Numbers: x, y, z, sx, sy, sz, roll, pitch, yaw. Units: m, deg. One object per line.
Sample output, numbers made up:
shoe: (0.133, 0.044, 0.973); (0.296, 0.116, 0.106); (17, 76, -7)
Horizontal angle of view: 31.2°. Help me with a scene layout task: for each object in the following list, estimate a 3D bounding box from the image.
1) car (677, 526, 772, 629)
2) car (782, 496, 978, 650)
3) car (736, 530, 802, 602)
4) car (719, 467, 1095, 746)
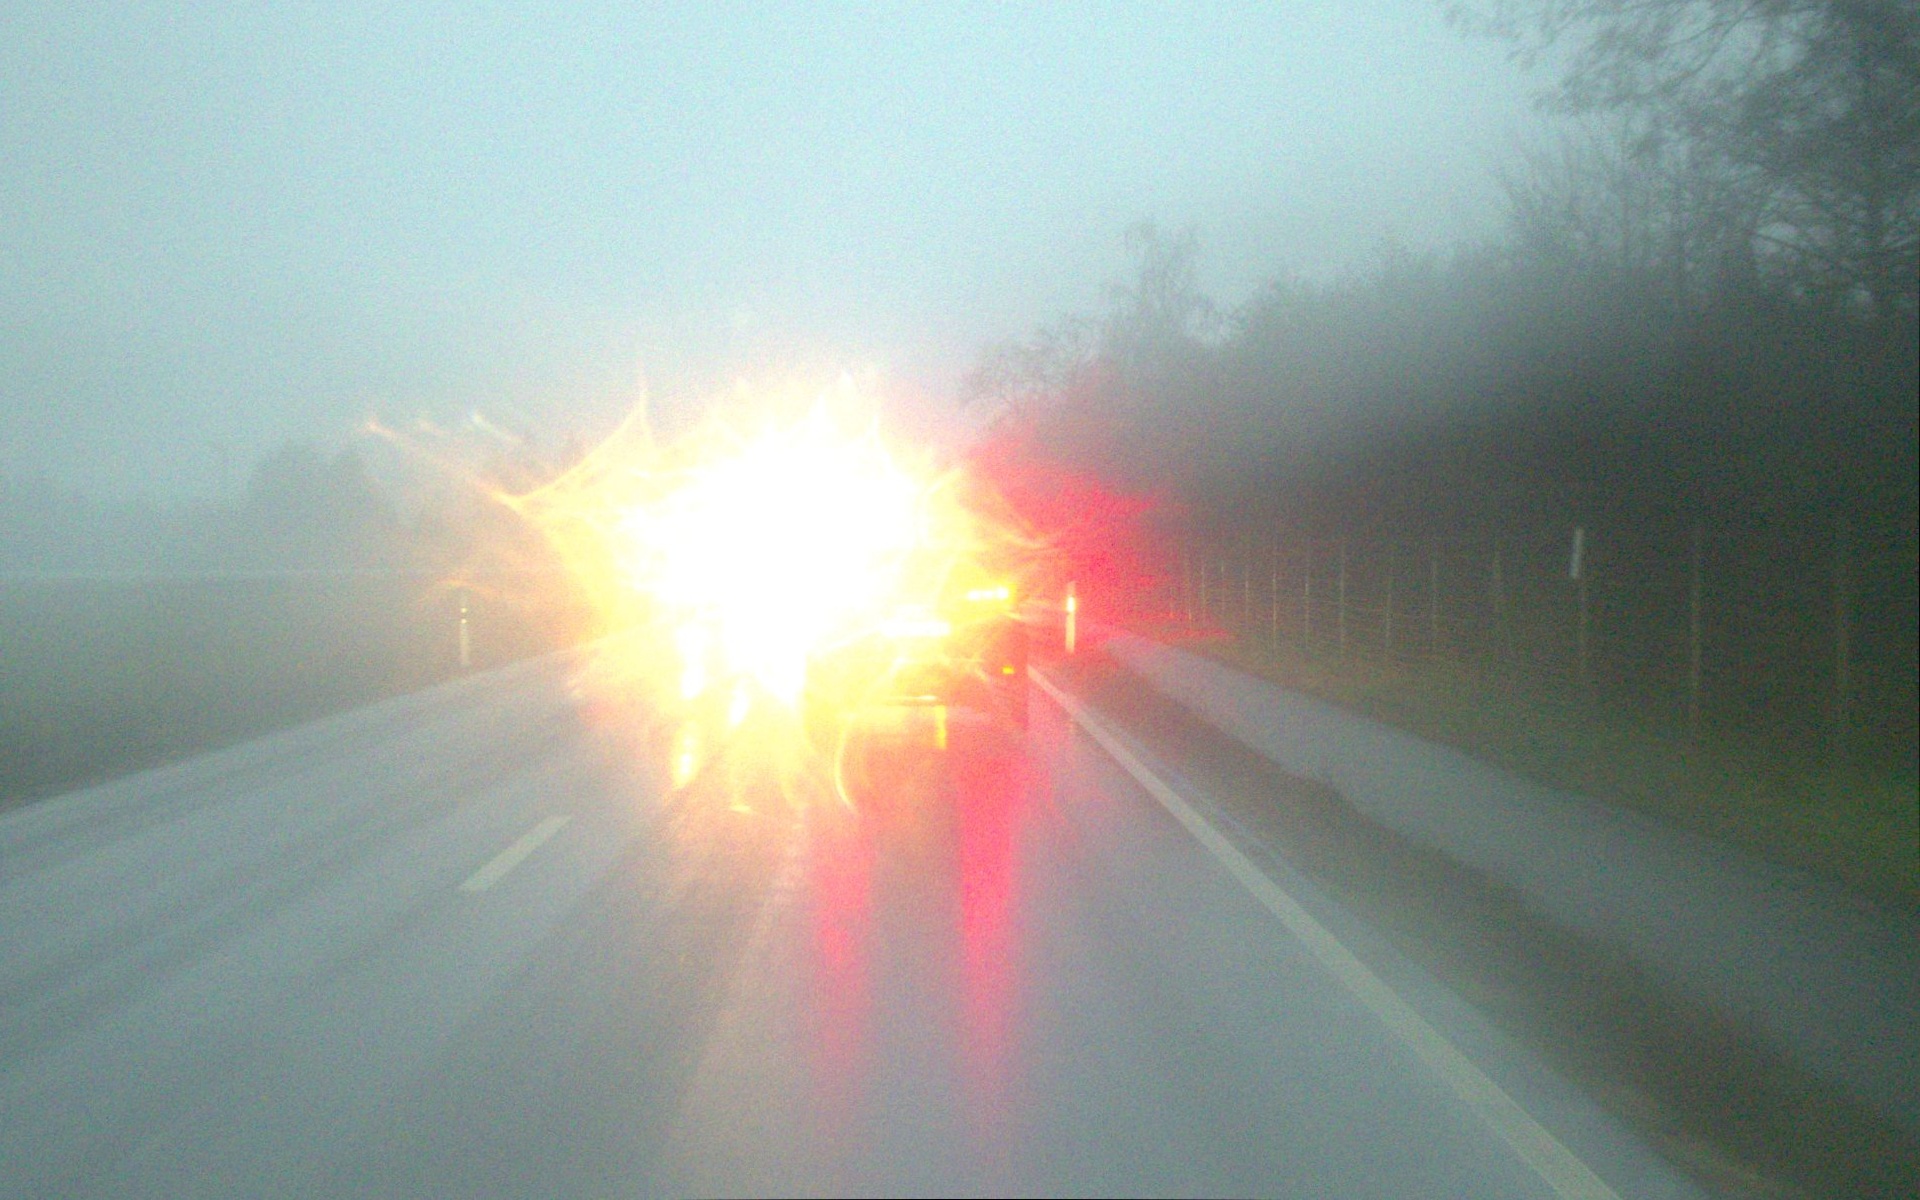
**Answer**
car: (-5.044, -0.501, 74.070); (1.915, 2.130, 4.314); (-1, 1, -2)
car: (-1.071, -0.401, 49.067); (2.592, 2.007, 5.804); (1, 1, 0)
car: (-5.808, -1.041, 104.733); (1.915, 2.130, 4.314); (-1, 1, -2)
car: (-0.401, 0.010, 29.045); (2.820, 2.070, 5.804); (1, 1, 0)
